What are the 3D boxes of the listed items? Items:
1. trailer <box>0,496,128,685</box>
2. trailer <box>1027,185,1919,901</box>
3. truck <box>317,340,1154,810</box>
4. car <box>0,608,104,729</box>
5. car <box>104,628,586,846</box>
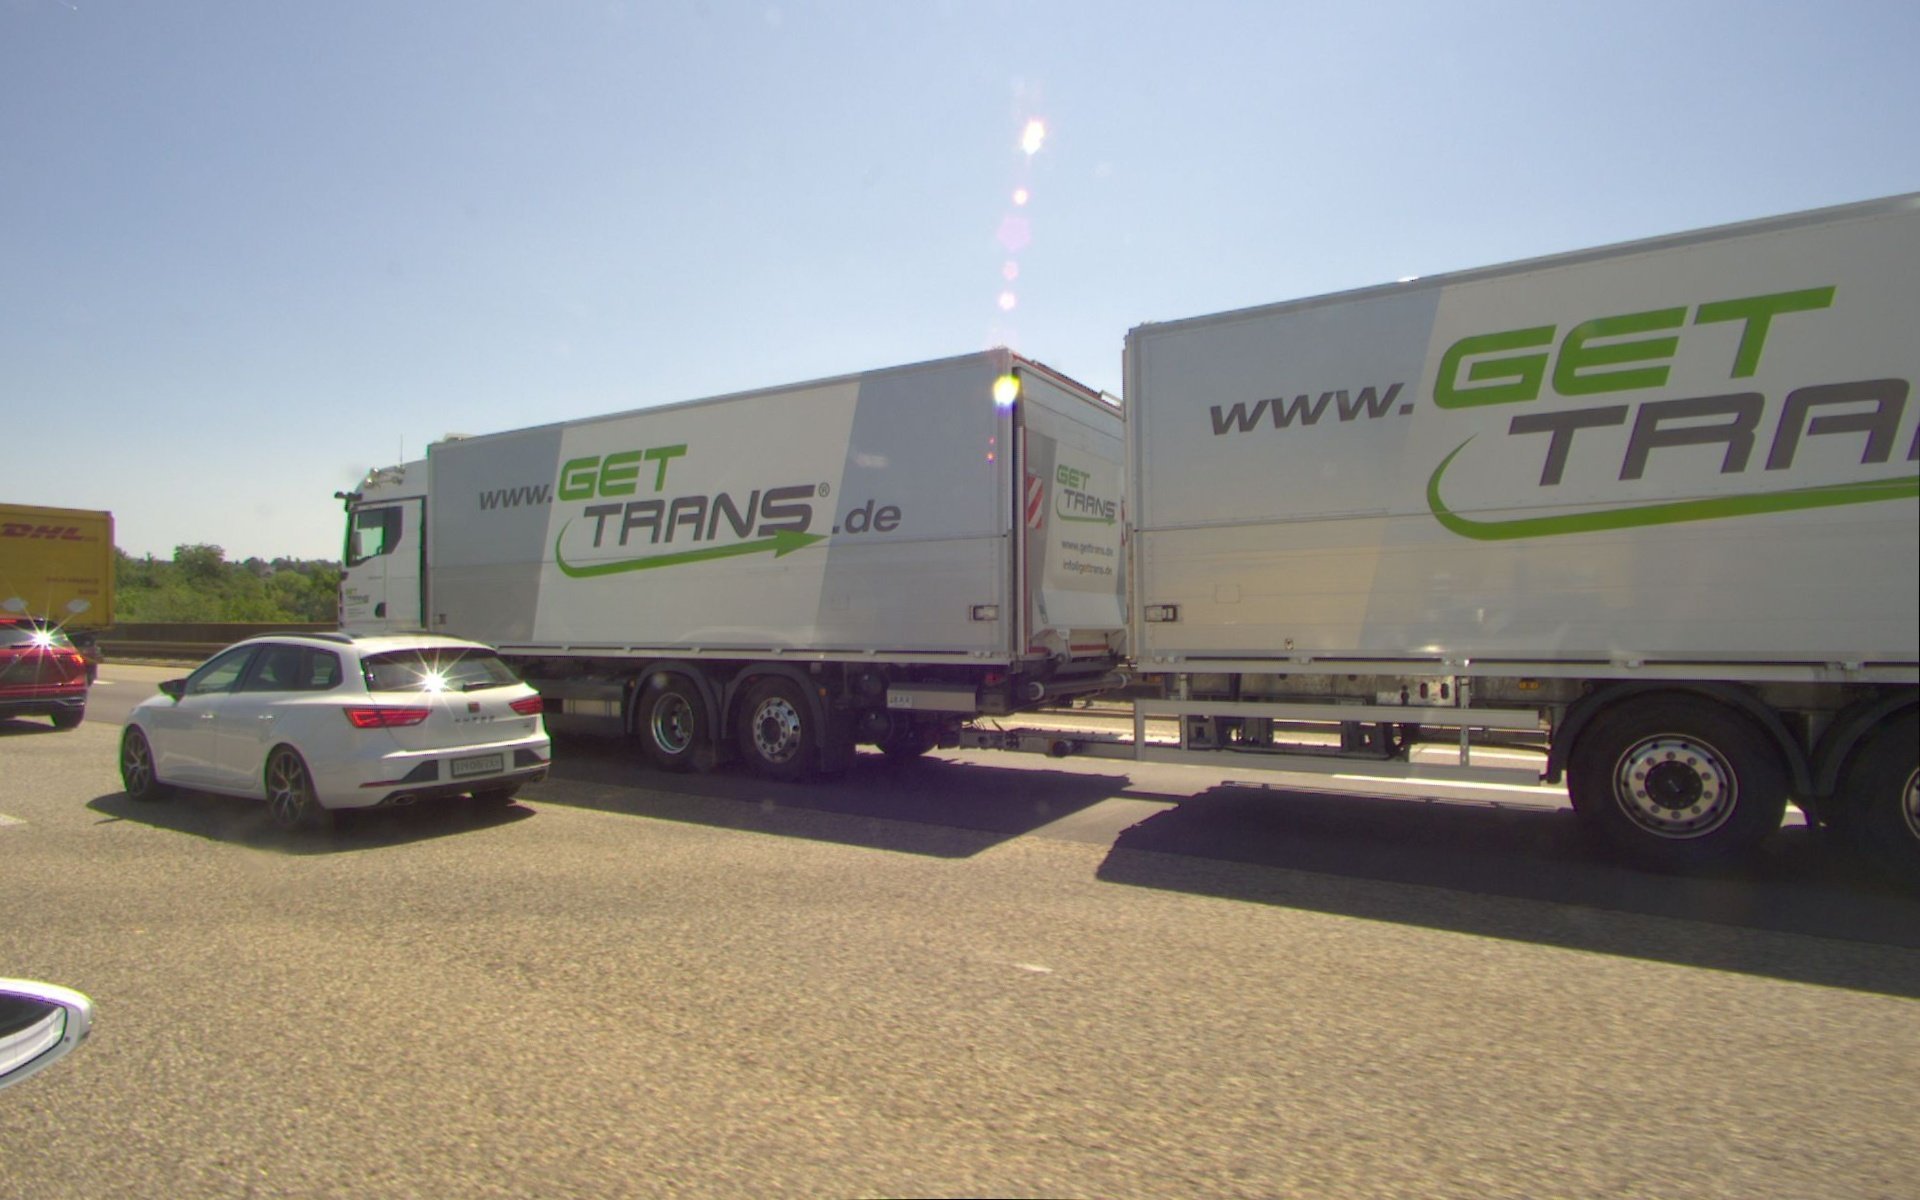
[{"bbox_3d":[-24.071,-0.096,24.782,8.802,4.075,2.697,-1,-2,32],"label":"trailer"},{"bbox_3d":[4.731,-0.248,6.849,8.171,3.641,2.840,0,-1,32],"label":"trailer"},{"bbox_3d":[-3.278,-0.119,11.776,10.611,3.649,2.847,0,-1,31],"label":"truck"},{"bbox_3d":[-14.423,0.936,14.617,3.942,1.629,1.848,0,-1,32],"label":"car"},{"bbox_3d":[-5.235,0.948,8.405,4.126,1.405,1.778,-1,-1,31],"label":"car"}]
